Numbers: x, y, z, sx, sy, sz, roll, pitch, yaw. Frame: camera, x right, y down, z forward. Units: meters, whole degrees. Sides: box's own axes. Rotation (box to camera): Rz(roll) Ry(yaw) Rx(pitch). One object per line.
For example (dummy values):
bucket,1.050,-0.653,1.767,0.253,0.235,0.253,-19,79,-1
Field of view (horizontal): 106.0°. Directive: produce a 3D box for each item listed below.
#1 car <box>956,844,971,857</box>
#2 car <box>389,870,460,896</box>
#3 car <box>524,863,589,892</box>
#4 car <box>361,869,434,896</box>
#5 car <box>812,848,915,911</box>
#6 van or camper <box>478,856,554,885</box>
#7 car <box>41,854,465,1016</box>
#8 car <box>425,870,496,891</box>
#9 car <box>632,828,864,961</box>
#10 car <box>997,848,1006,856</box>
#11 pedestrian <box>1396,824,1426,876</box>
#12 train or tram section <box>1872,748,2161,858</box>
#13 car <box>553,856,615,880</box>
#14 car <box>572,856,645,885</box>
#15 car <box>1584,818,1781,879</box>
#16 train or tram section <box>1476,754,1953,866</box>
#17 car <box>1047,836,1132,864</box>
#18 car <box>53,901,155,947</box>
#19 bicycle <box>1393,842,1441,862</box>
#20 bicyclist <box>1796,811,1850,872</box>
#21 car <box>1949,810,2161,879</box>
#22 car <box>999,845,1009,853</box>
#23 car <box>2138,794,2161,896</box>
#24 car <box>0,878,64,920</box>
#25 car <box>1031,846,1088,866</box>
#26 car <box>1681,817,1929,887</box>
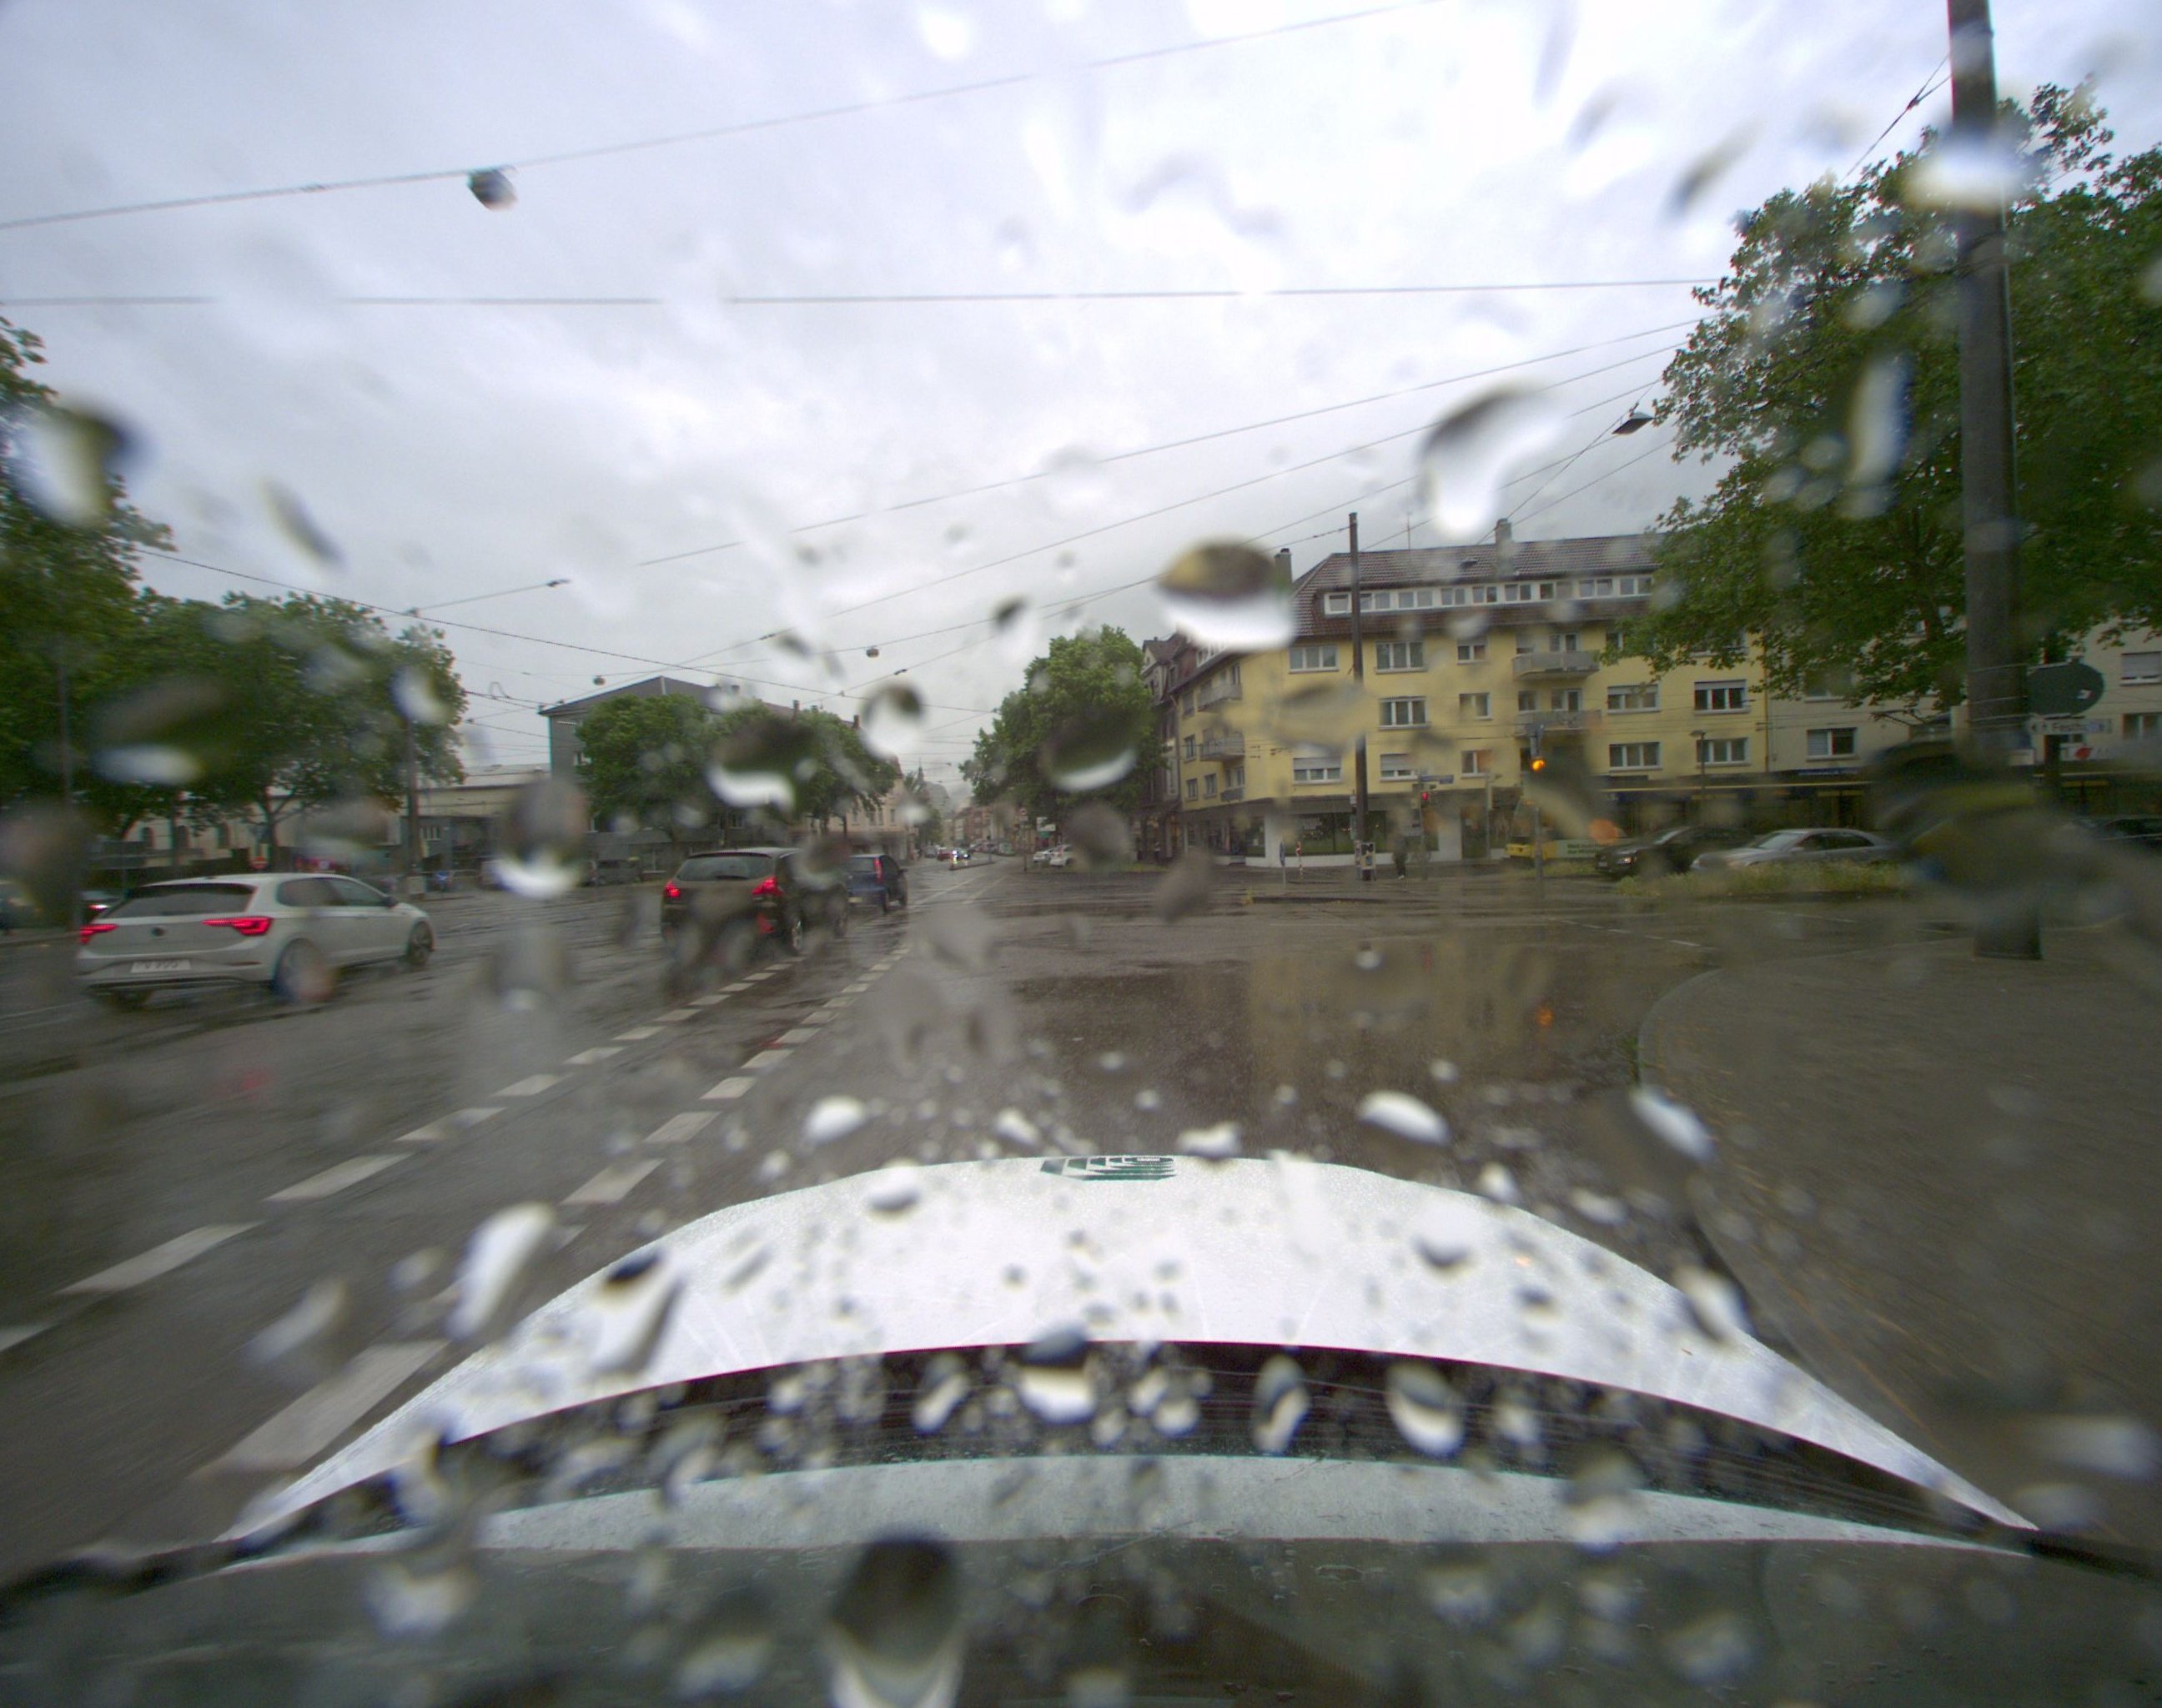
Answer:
car,-16.266,-0.433,112.376,1.993,1.688,3.988,0,-1,-9
car,-53.168,2.326,66.034,1.976,2.014,4.021,-1,-1,22
car,-40.911,1.794,63.643,1.982,2.013,4.010,-2,1,9
car,-55.931,2.314,66.710,1.975,1.928,4.024,-1,1,26
car,-5.570,0.668,21.324,1.879,1.459,3.825,-1,-2,-4
van or camper,-43.796,1.240,63.263,1.979,2.075,4.674,-2,0,15
car,-10.101,0.827,10.515,1.809,1.536,4.172,-2,1,-13
car,-49.067,2.070,64.492,1.978,1.614,4.017,-2,-2,17
car,-4.911,0.492,12.754,1.795,1.709,4.192,-1,1,1
car,-14.028,-0.413,143.443,1.474,1.363,3.453,0,-1,-7
pedestrian,11.050,-0.144,27.290,0.805,1.677,1.022,-2,0,18
train or tram section,37.082,-1.827,28.792,14.560,3.558,3.120,-1,1,4
car,-38.717,1.081,63.589,1.910,1.618,4.010,-2,1,9
car,-35.927,1.231,62.101,2.043,2.013,4.422,-1,1,22
car,17.174,-0.166,23.410,4.255,1.501,1.880,-2,1,0
train or tram section,22.661,-1.521,29.962,14.457,3.558,3.122,-1,1,6
car,0.515,-0.268,51.324,4.984,1.474,1.989,-3,1,-17
car,-43.445,3.066,36.214,3.951,1.771,1.814,-1,3,25
bicycle,16.242,-0.103,39.403,2.029,0.896,0.615,-2,0,6
bicyclist,21.247,-0.361,23.336,0.883,1.716,0.715,-1,1,2
car,24.968,-0.255,20.208,4.602,1.485,1.866,-2,1,5
car,-12.979,-0.794,137.035,1.474,1.363,3.453,0,-1,-7
car,21.028,-0.188,13.716,4.087,1.797,1.909,-1,1,-1
car,-50.231,2.099,38.062,3.955,1.771,2.014,-2,1,18
car,-1.854,0.173,71.060,4.546,1.556,2.008,-2,1,14
car,17.877,-0.055,20.287,4.464,1.489,1.743,-2,1,5
